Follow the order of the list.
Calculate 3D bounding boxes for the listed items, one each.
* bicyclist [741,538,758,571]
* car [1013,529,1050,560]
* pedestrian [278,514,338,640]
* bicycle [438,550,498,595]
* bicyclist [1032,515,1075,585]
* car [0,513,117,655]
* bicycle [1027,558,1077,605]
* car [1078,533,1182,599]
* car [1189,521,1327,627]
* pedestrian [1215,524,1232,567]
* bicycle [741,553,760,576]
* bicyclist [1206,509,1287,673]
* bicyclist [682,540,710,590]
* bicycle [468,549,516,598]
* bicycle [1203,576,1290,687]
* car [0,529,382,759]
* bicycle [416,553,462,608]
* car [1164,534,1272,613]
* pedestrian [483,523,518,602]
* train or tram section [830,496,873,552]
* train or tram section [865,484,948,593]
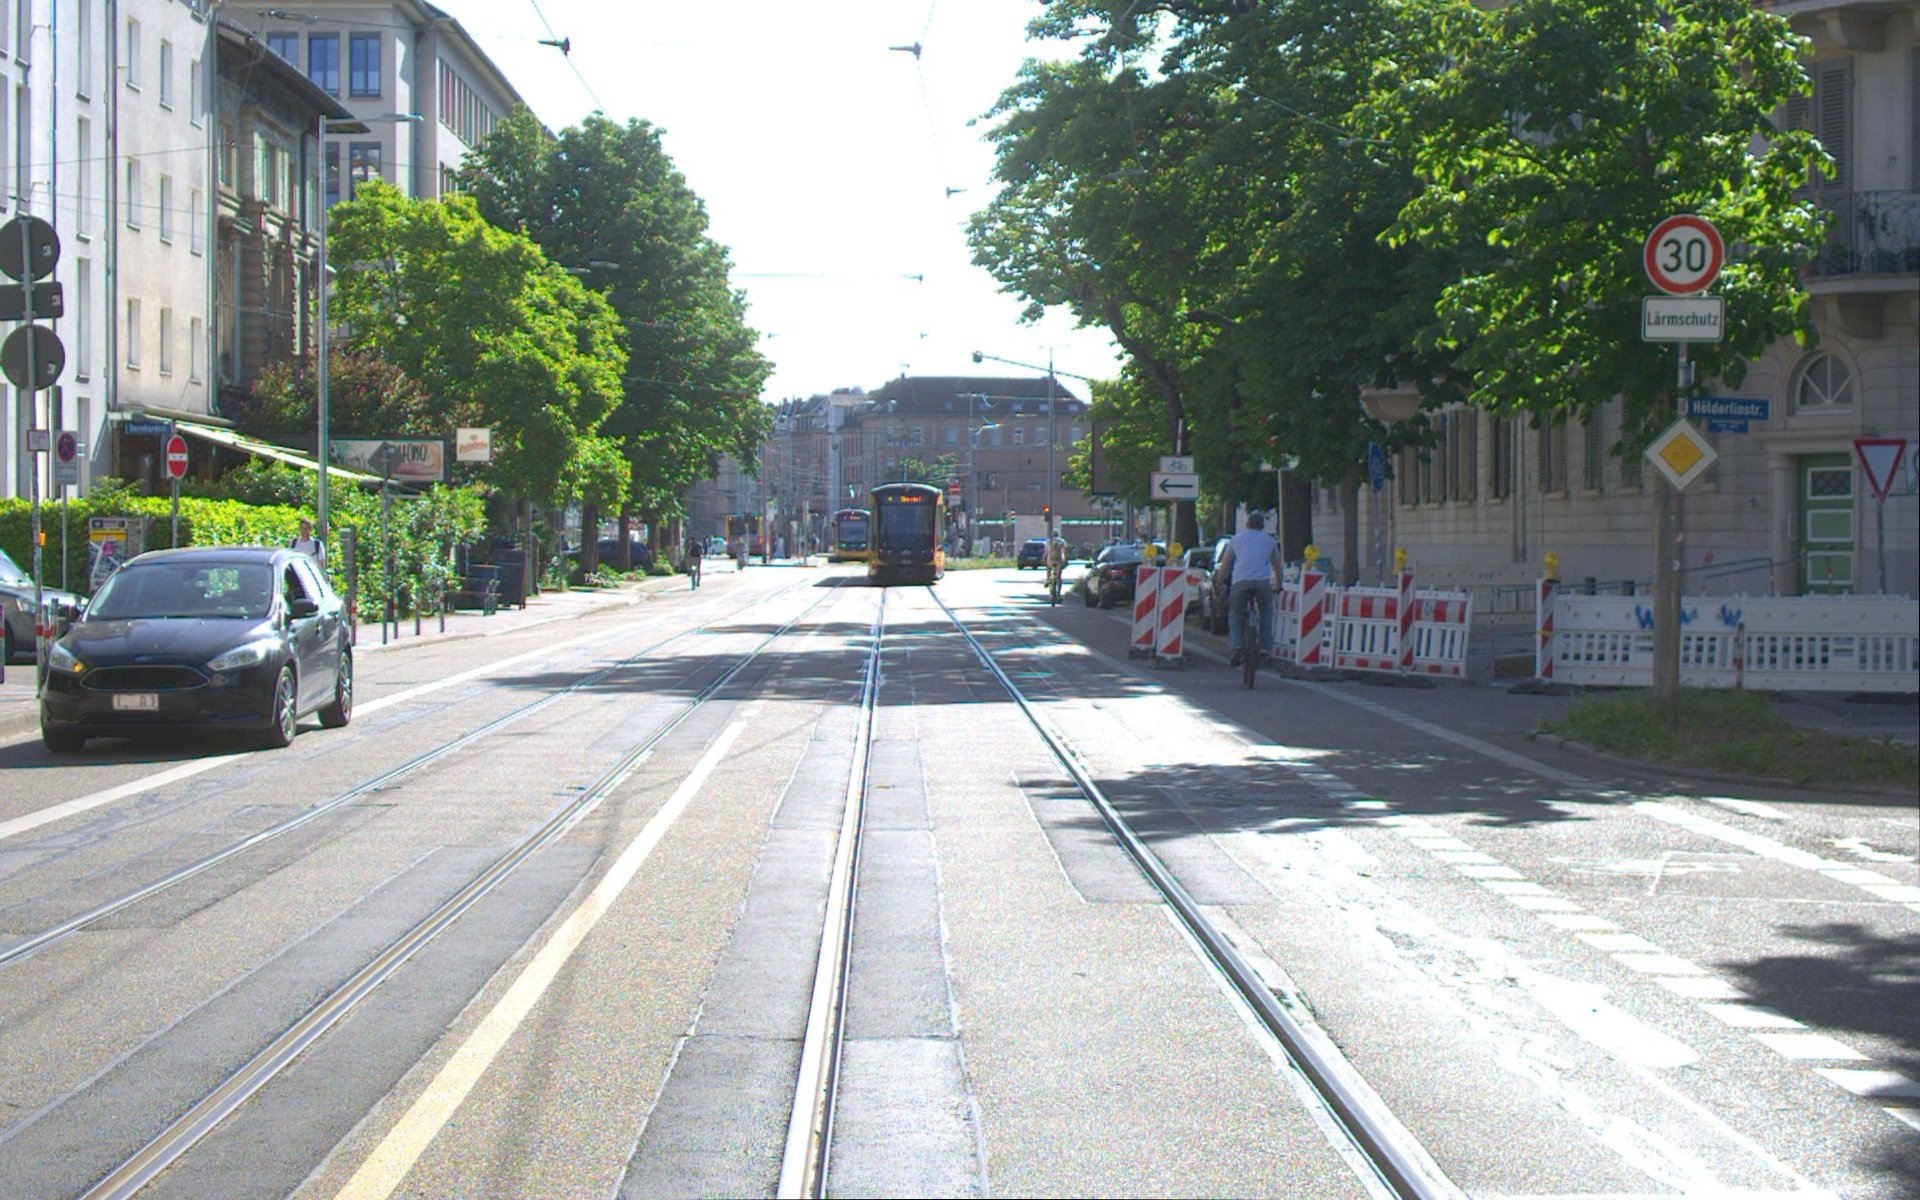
[{"bbox_3d":[-10.576,-2.278,172.692,0.687,1.639,1.237,-2,1,3],"label":"bicyclist"},{"bbox_3d":[3.820,-2.939,182.018,1.789,1.599,3.712,1,1,3],"label":"car"},{"bbox_3d":[-9.214,-0.325,48.605,0.691,1.762,0.866,0,1,0],"label":"pedestrian"},{"bbox_3d":[-11.587,-0.655,81.086,0.637,1.042,2.020,0,1,16],"label":"bicycle"},{"bbox_3d":[2.272,-1.214,83.469,0.705,1.669,1.100,2,2,19],"label":"bicyclist"},{"bbox_3d":[-13.314,-0.191,45.140,4.045,1.801,1.790,0,0,20],"label":"car"},{"bbox_3d":[2.250,-0.449,83.487,0.705,1.101,1.715,2,2,19],"label":"bicycle"},{"bbox_3d":[3.979,-0.836,81.292,1.821,1.453,4.819,-2,1,-4],"label":"car"},{"bbox_3d":[4.898,-0.464,57.013,1.810,1.620,4.584,-2,1,0],"label":"car"},{"bbox_3d":[8.572,-1.770,111.799,0.518,1.399,0.764,0,1,2],"label":"pedestrian"},{"bbox_3d":[-10.531,-1.795,172.952,0.687,1.120,1.931,-2,1,3],"label":"bicycle"},{"bbox_3d":[3.001,-0.098,36.075,0.738,1.680,0.972,1,1,1],"label":"bicyclist"},{"bbox_3d":[-8.585,-1.151,111.807,0.745,1.594,1.118,-3,1,0],"label":"bicyclist"},{"bbox_3d":[-11.257,-0.655,82.739,0.646,1.139,1.904,2,1,7],"label":"bicycle"},{"bbox_3d":[2.994,0.312,36.095,0.738,1.090,2.111,1,1,1],"label":"bicycle"},{"bbox_3d":[-5.880,0.265,26.553,1.864,1.571,4.589,-2,1,2],"label":"car"},{"bbox_3d":[-10.653,-0.405,70.319,0.638,1.055,1.743,2,1,0],"label":"bicycle"},{"bbox_3d":[4.833,-0.522,64.797,1.724,1.377,4.356,-2,1,1],"label":"car"},{"bbox_3d":[-10.811,-0.885,80.866,0.576,1.825,0.689,0,1,18],"label":"pedestrian"},{"bbox_3d":[-7.251,-5.115,229.770,2.742,3.639,13.787,0,2,-2],"label":"train or tram section"},{"bbox_3d":[-1.993,-2.252,122.385,2.742,3.639,13.787,0,2,-2],"label":"train or tram section"}]
